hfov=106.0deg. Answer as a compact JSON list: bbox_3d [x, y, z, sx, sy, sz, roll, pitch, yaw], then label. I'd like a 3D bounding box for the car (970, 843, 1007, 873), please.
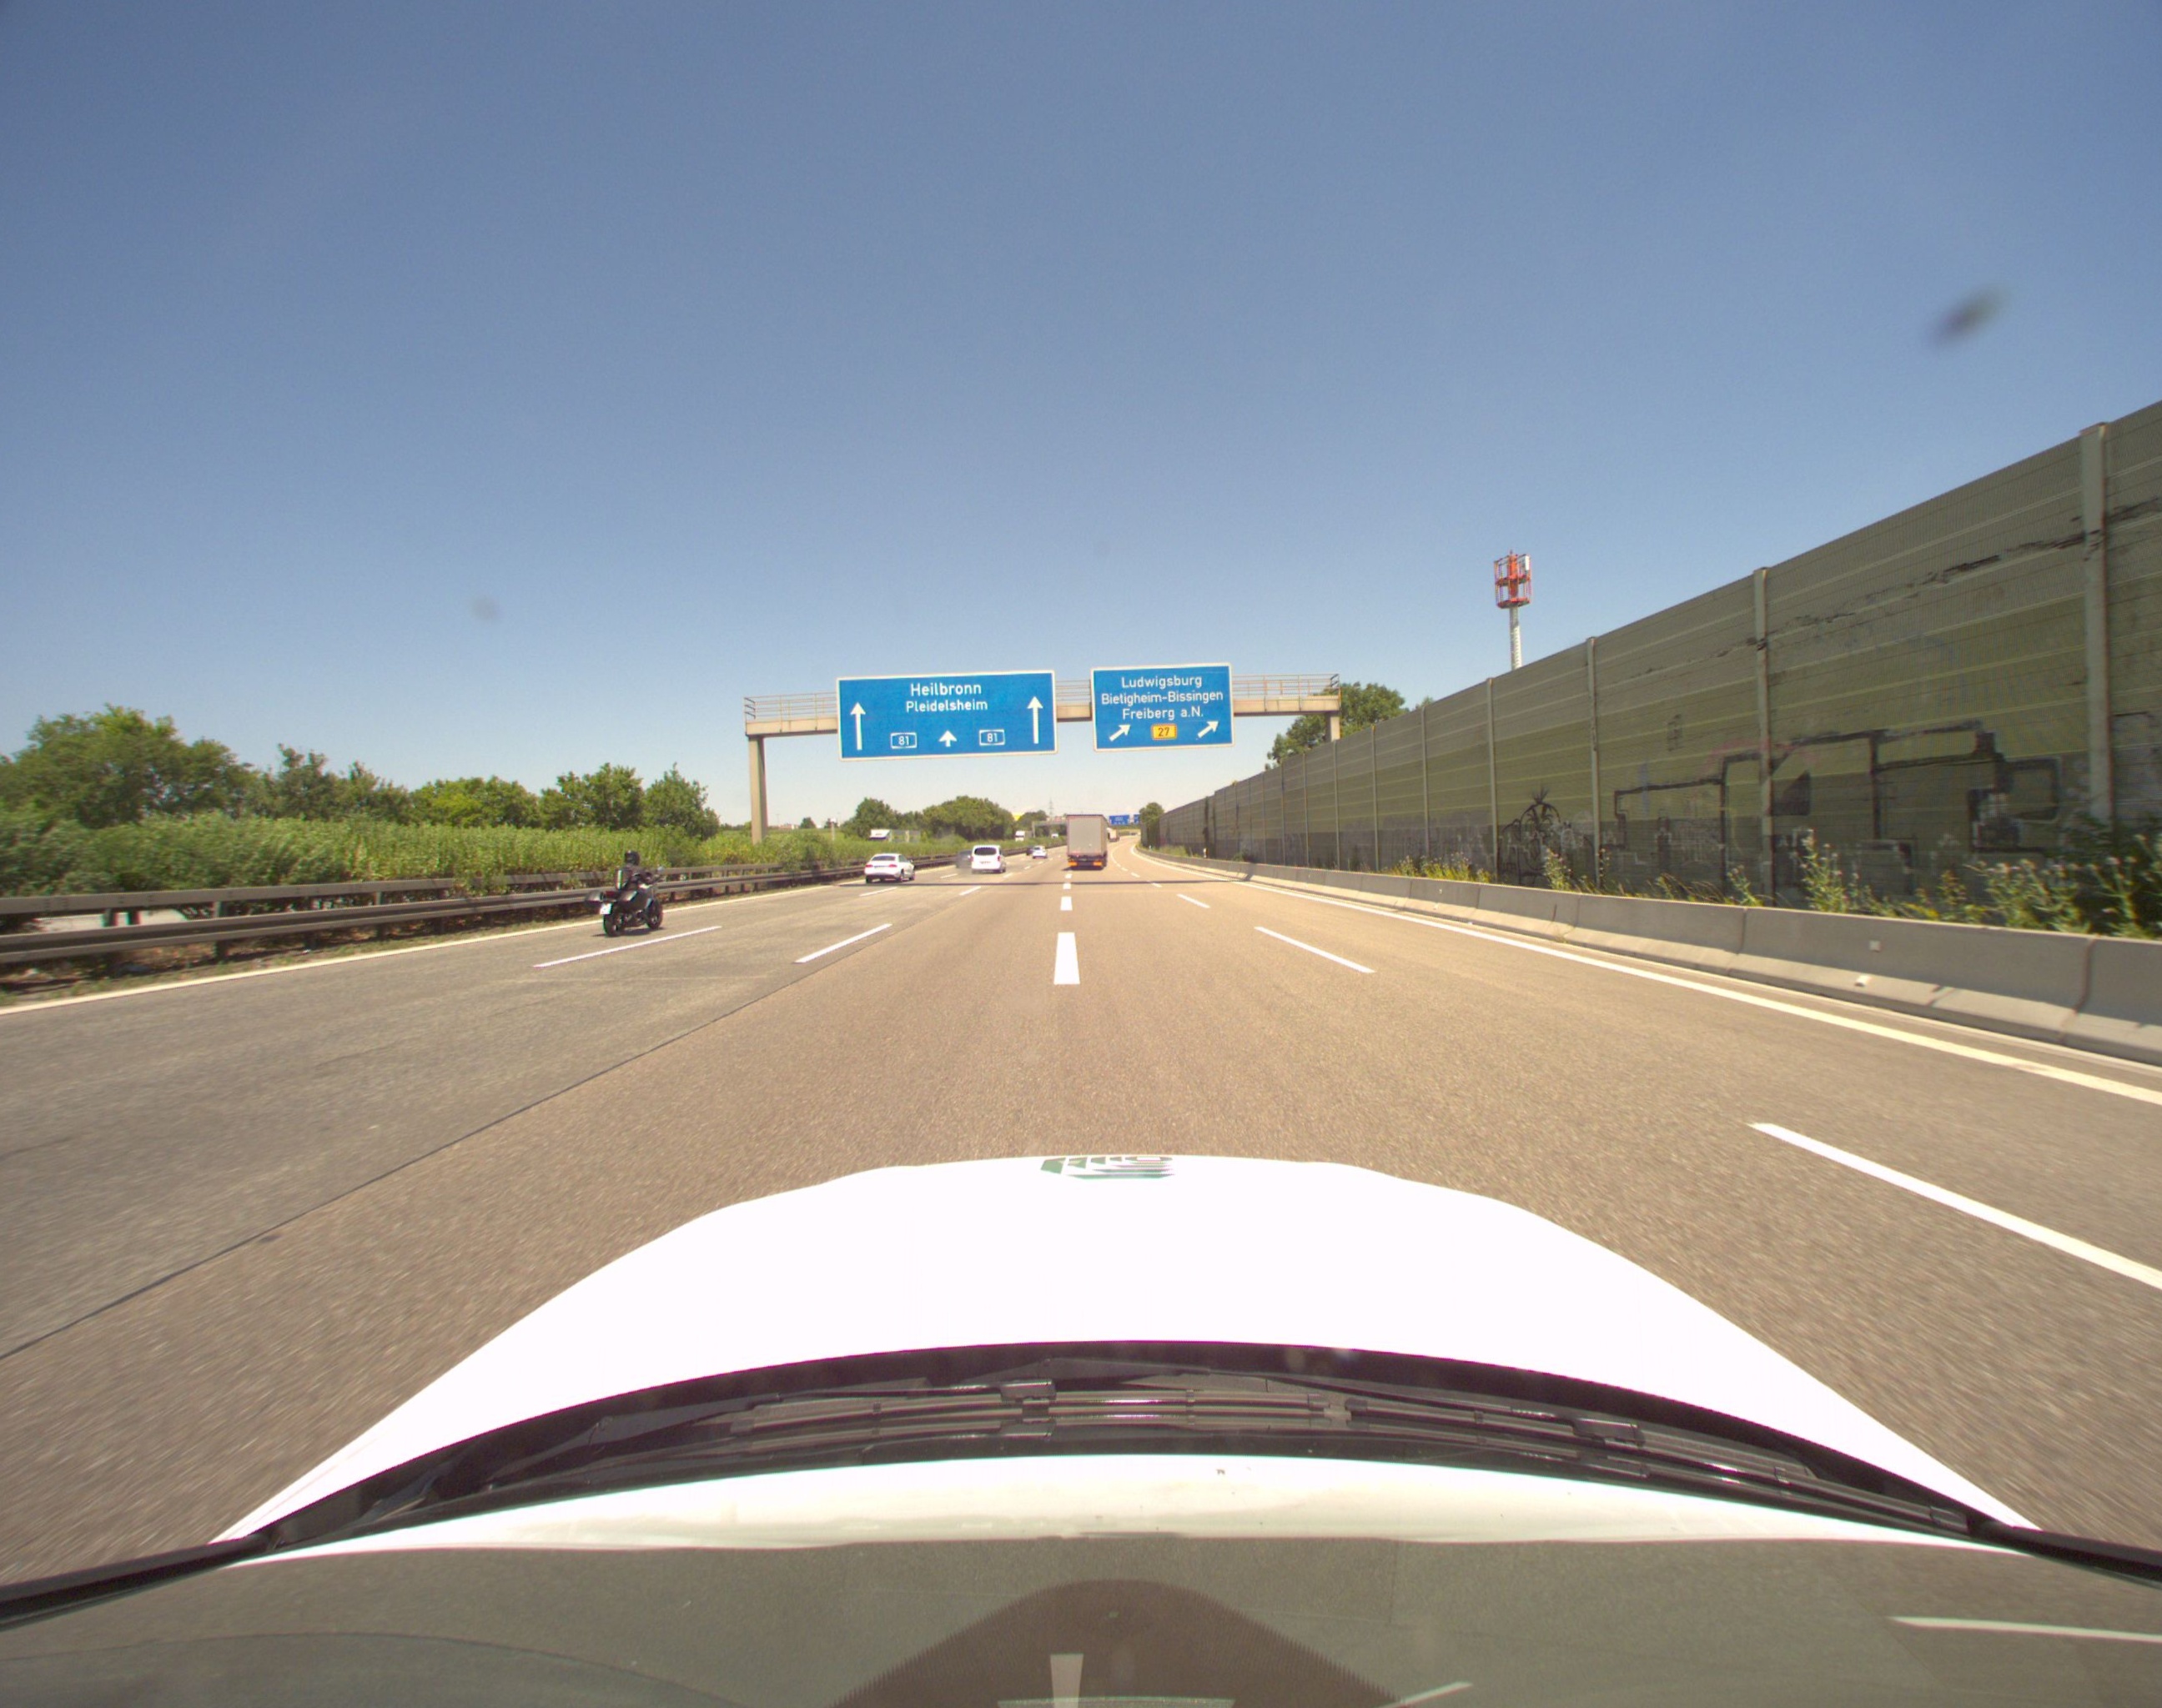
[{"bbox_3d":[-6.118,0.275,54.319,1.924,1.851,4.691,-1,-1,0],"label":"car"}]

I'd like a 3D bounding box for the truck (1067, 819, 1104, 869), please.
[{"bbox_3d":[0.395,-0.800,70.723,2.918,4.015,7.582,-1,-1,0],"label":"truck"}]

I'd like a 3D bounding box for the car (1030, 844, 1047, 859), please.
[{"bbox_3d":[-5.575,-0.403,108.062,1.898,1.851,4.631,-1,1,0],"label":"car"}]

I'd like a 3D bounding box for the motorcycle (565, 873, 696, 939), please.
[{"bbox_3d":[-8.810,0.978,16.129,0.909,1.088,2.851,-1,0,2],"label":"motorcycle"}]

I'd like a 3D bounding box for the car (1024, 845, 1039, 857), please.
[{"bbox_3d":[-7.820,-0.529,129.307,1.897,1.689,4.634,-1,1,2],"label":"car"}]

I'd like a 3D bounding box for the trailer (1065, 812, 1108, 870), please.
[{"bbox_3d":[0.382,-0.875,63.359,2.918,4.015,12.036,-1,0,0],"label":"trailer"}]

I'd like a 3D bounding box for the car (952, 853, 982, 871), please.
[{"bbox_3d":[-9.657,0.697,69.288,1.751,1.408,5.038,-1,-1,0],"label":"car"}]

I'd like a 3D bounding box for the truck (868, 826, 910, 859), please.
[{"bbox_3d":[-24.388,-1.408,103.900,2.992,3.967,10.318,0,0,-1],"label":"truck"}]

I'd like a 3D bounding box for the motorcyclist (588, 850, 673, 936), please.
[{"bbox_3d":[-8.817,0.738,16.014,0.890,1.597,1.300,-1,0,2],"label":"motorcyclist"}]

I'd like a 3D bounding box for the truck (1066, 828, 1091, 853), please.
[{"bbox_3d":[-0.373,-2.500,144.965,3.732,4.269,14.508,0,2,3],"label":"truck"}]

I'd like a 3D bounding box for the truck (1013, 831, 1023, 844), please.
[{"bbox_3d":[-19.601,-5.202,252.570,2.528,3.947,5.171,0,1,2],"label":"truck"}]

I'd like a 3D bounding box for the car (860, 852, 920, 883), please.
[{"bbox_3d":[-9.627,0.638,41.450,1.871,1.440,5.123,-1,0,-1],"label":"car"}]

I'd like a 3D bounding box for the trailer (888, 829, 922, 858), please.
[{"bbox_3d":[-24.411,-1.454,113.400,2.914,3.967,8.655,0,0,-1],"label":"trailer"}]
